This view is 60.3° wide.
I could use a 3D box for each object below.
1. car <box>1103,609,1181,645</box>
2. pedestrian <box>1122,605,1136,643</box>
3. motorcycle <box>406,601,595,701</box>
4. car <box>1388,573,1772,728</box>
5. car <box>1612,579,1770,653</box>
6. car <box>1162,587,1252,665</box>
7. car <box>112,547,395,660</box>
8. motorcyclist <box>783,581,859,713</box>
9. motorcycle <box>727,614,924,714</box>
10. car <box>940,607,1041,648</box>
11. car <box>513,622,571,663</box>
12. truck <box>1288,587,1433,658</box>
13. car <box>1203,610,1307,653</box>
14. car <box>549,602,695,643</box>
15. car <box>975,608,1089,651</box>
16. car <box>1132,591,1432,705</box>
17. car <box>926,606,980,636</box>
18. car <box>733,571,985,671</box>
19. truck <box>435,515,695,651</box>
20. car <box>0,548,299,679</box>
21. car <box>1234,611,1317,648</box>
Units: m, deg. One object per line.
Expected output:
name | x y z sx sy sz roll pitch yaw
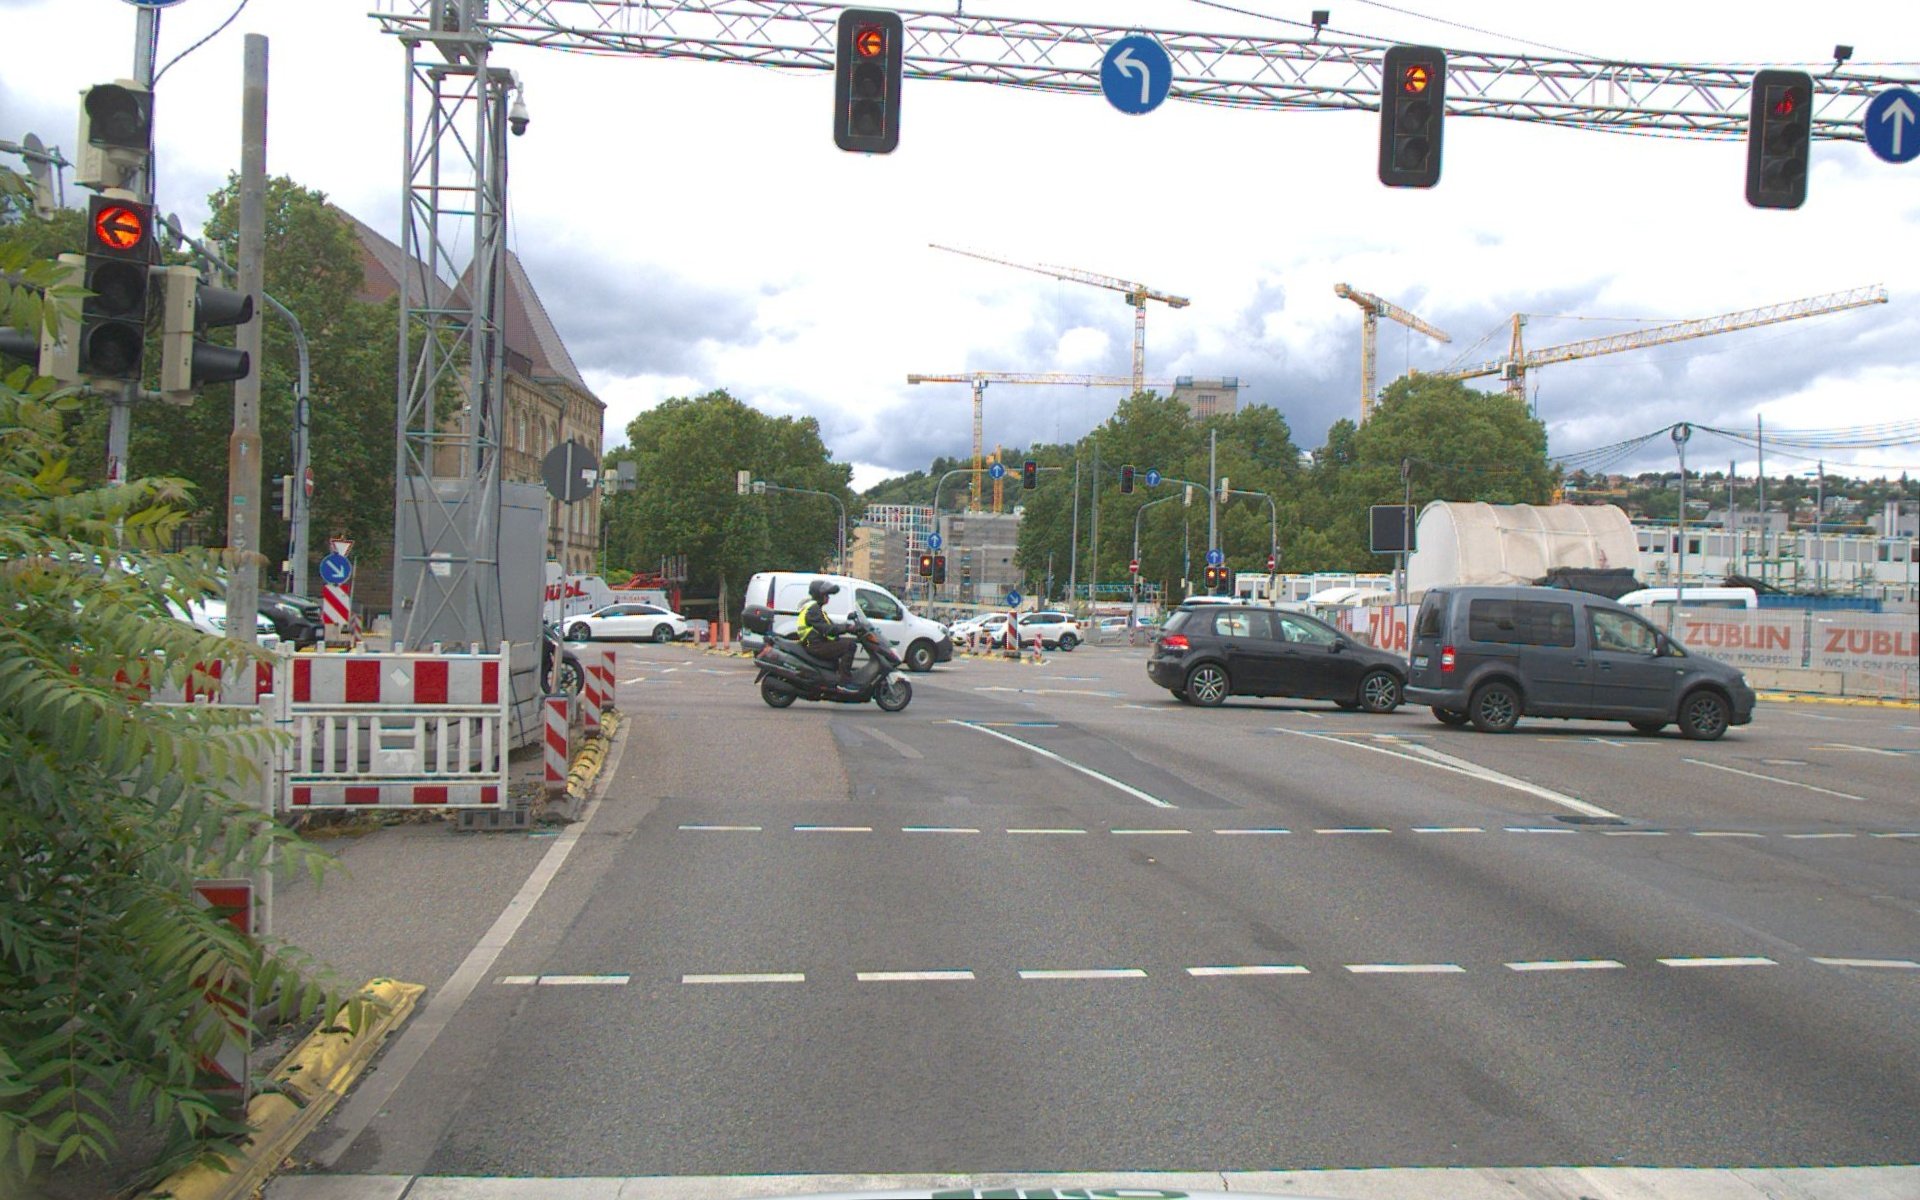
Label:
car | 10.076 1.476 91.549 3.932 1.870 1.986 1 0 44
pedestrian | 8.362 1.164 81.855 0.574 1.872 0.604 1 -1 -4
motorcycle | -5.656 0.624 20.426 2.123 1.175 0.652 1 0 0
car | 7.885 0.631 21.322 4.183 1.837 1.999 1 0 -2
car | 21.065 0.448 47.826 3.902 2.049 2.001 1 0 15
car | 6.168 0.625 40.927 1.951 1.790 4.509 1 0 11
car | -12.494 0.071 29.487 4.159 1.866 1.999 1 0 -4
motorcyclist | -1.725 0.573 20.660 0.860 1.598 0.817 1 -1 0
motorcycle | -1.649 0.784 20.657 2.373 1.175 0.817 1 0 0
car | 1.353 1.226 73.494 4.093 1.754 1.894 1 0 -24
car | -20.394 2.051 80.825 1.954 1.870 3.997 1 0 -3
truck | 18.683 1.068 77.150 6.495 3.201 2.349 1 0 -24
car | 14.006 1.497 78.506 4.508 1.805 1.985 2 1 -26
car | -12.836 0.863 62.790 5.066 1.444 2.220 1 0 -24
car | 3.087 1.244 70.676 4.524 1.754 1.894 1 0 -24
car | 4.740 0.696 24.740 4.026 1.574 1.998 1 0 -5
car | -0.465 1.370 109.658 1.971 1.870 3.963 1 0 -28
car | -1.989 0.432 32.823 4.646 1.865 1.855 1 0 -25
truck | -15.537 -0.592 65.259 9.584 5.047 3.091 1 -1 -24
car | -12.095 0.182 23.500 4.577 1.732 1.999 1 0 -3
car | 16.794 1.577 88.122 3.932 1.870 1.986 1 0 44
